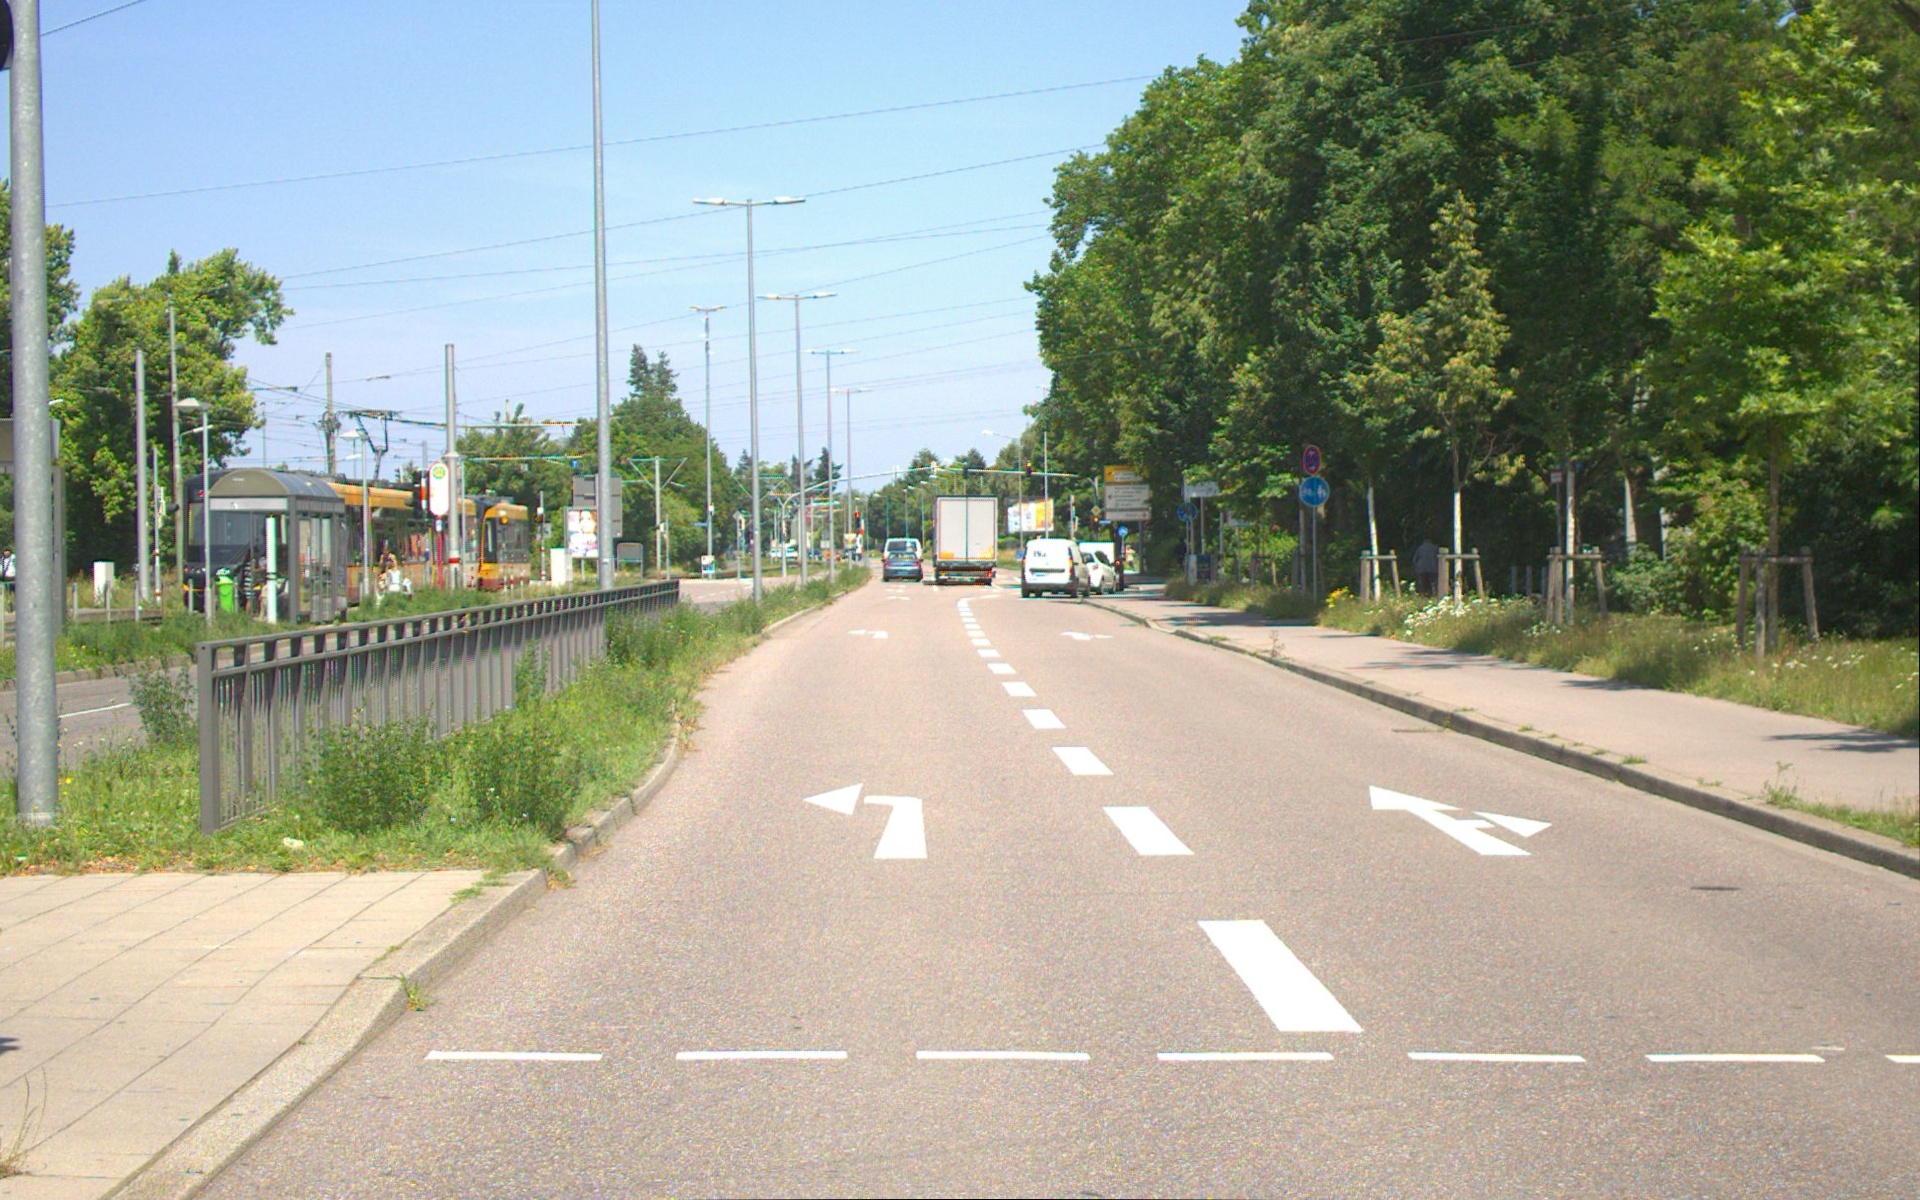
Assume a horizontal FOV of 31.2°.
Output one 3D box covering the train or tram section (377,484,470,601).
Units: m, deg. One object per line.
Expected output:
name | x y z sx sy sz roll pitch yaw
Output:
train or tram section | -19.608 -2.141 127.099 2.930 3.776 33.096 0 1 -8

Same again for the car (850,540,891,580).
car | -4.563 -2.067 175.168 1.993 2.007 4.000 0 1 -1

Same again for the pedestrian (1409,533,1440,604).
pedestrian | 9.445 -0.637 69.896 0.604 1.433 0.556 0 1 6

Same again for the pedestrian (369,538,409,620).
pedestrian | -14.099 -0.523 84.949 0.815 2.007 0.938 0 1 -1

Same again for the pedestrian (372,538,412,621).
pedestrian | -13.820 -0.506 83.656 0.815 2.007 0.938 0 1 -1

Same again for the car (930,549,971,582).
car | -0.441 -1.550 153.620 1.811 1.459 4.000 0 1 -1

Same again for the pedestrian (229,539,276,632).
pedestrian | -14.260 -0.301 69.303 0.785 1.862 0.817 0 1 -1

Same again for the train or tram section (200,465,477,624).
train or tram section | -16.739 -1.575 95.985 2.957 3.736 30.035 0 1 -1

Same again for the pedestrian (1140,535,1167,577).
pedestrian | 9.201 -2.102 163.789 1.185 2.007 1.214 0 1 0

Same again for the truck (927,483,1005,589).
truck | 0.205 -2.713 146.055 3.205 4.344 6.561 0 1 -1

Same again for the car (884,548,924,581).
car | -2.566 -1.644 157.887 1.811 1.459 4.000 0 1 -1

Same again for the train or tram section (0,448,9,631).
train or tram section | -20.915 -1.153 65.408 3.215 3.918 18.505 -1 1 -9

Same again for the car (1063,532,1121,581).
car | 4.542 -1.510 118.791 1.779 1.663 4.000 0 1 -1

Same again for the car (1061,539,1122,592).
car | 4.293 -1.146 112.407 1.779 1.663 4.000 0 1 -1

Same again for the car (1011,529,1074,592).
car | 2.504 -1.218 105.518 1.779 1.897 4.000 0 1 -1
